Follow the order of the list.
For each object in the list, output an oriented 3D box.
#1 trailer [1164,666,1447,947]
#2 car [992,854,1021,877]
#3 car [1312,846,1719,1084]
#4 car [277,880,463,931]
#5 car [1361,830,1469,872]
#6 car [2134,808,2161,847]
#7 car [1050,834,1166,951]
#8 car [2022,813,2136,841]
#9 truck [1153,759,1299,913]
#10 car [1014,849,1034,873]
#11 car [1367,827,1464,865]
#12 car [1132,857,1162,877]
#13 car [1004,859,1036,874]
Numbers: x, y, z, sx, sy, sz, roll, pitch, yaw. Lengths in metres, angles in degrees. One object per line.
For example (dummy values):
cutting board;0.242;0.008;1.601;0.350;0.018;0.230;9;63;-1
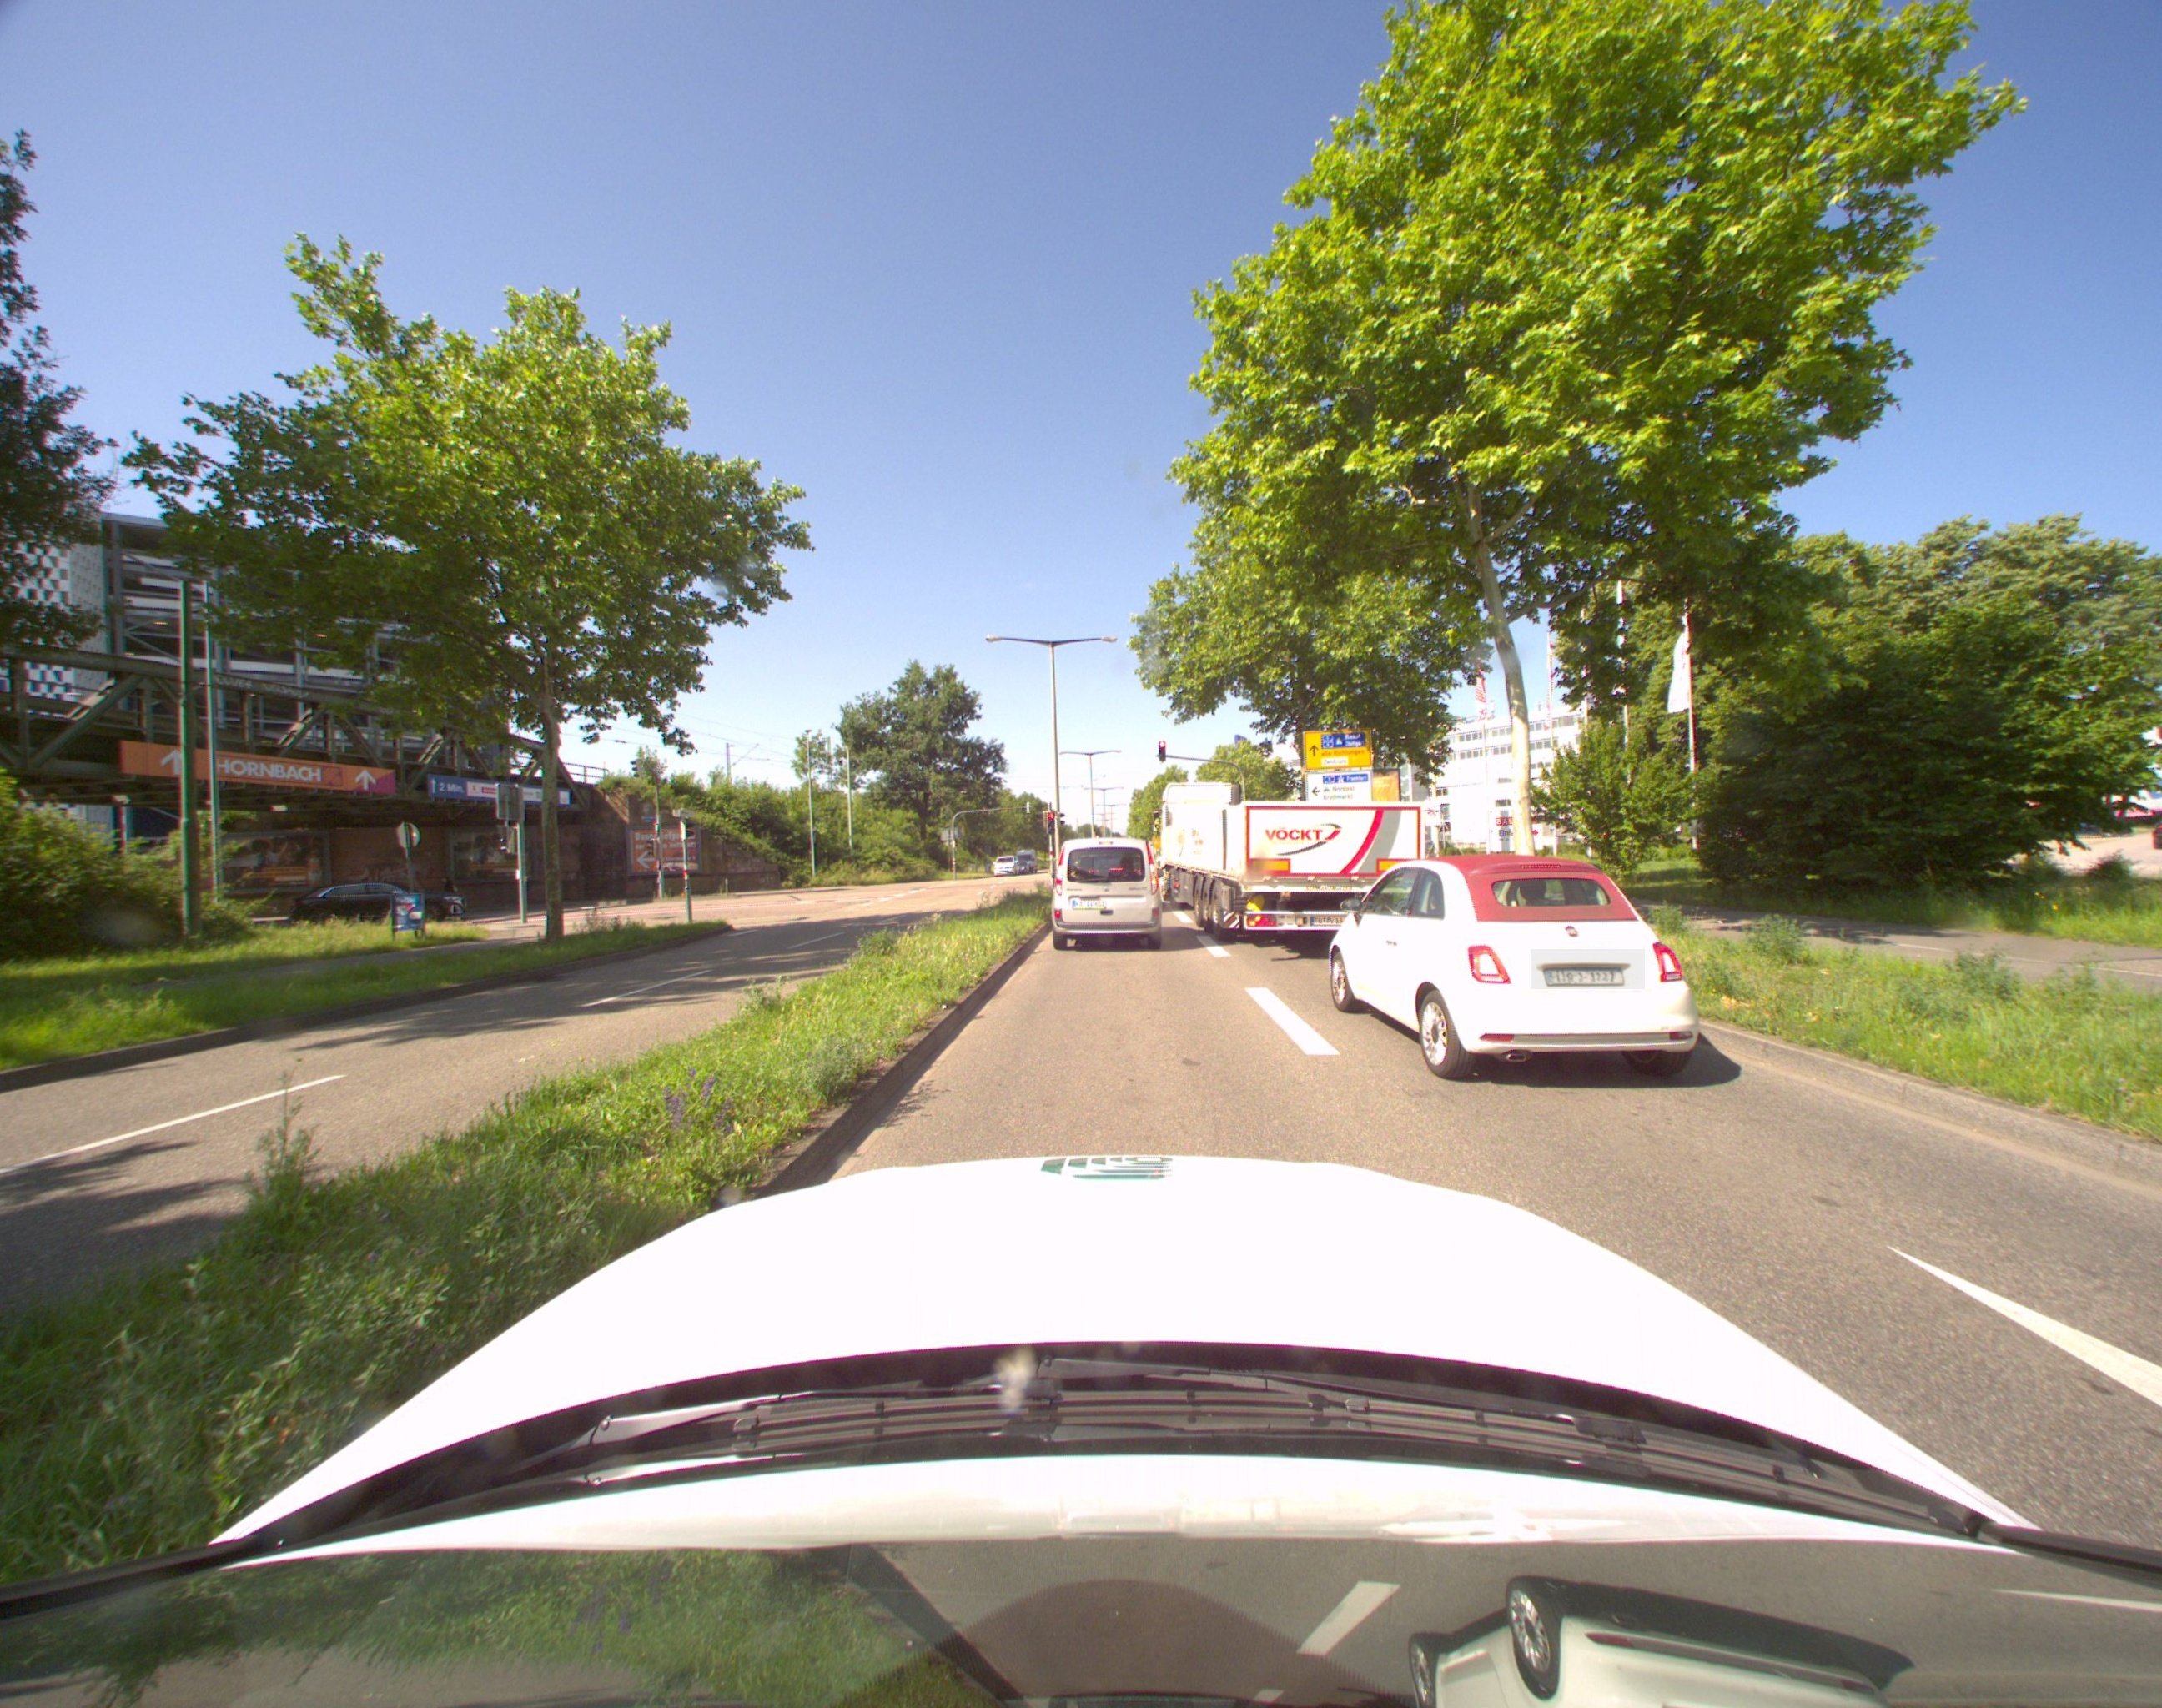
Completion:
trailer;3.664;-0.606;17.151;3.004;3.741;12.246;-1;0;2
car;-6.835;1.074;75.509;1.986;1.891;4.989;-4;0;1
car;3.155;0.695;6.761;1.654;1.436;3.523;-1;0;3
car;-26.184;1.850;30.268;5.075;1.596;1.510;-1;-1;-35
car;14.345;-0.117;35.142;3.965;1.662;1.726;-1;-1;7
car;43.236;-1.048;32.092;3.746;1.515;1.755;-1;-1;-43
car;0.477;0.601;14.484;1.742;1.772;3.951;-1;0;2
car;57.741;-1.527;47.192;1.727;1.486;3.961;-1;-1;-30
truck;3.932;-0.429;23.935;3.060;3.758;7.478;-1;0;1
car;-6.395;0.804;91.384;2.055;2.614;5.861;-1;0;-4
car;15.829;-0.354;38.712;3.965;1.662;1.726;-1;-1;7
car;5.637;1.123;69.988;1.989;1.640;3.995;-1;0;-3
car;-6.245;1.263;83.505;1.920;1.409;4.192;-1;0;-25
